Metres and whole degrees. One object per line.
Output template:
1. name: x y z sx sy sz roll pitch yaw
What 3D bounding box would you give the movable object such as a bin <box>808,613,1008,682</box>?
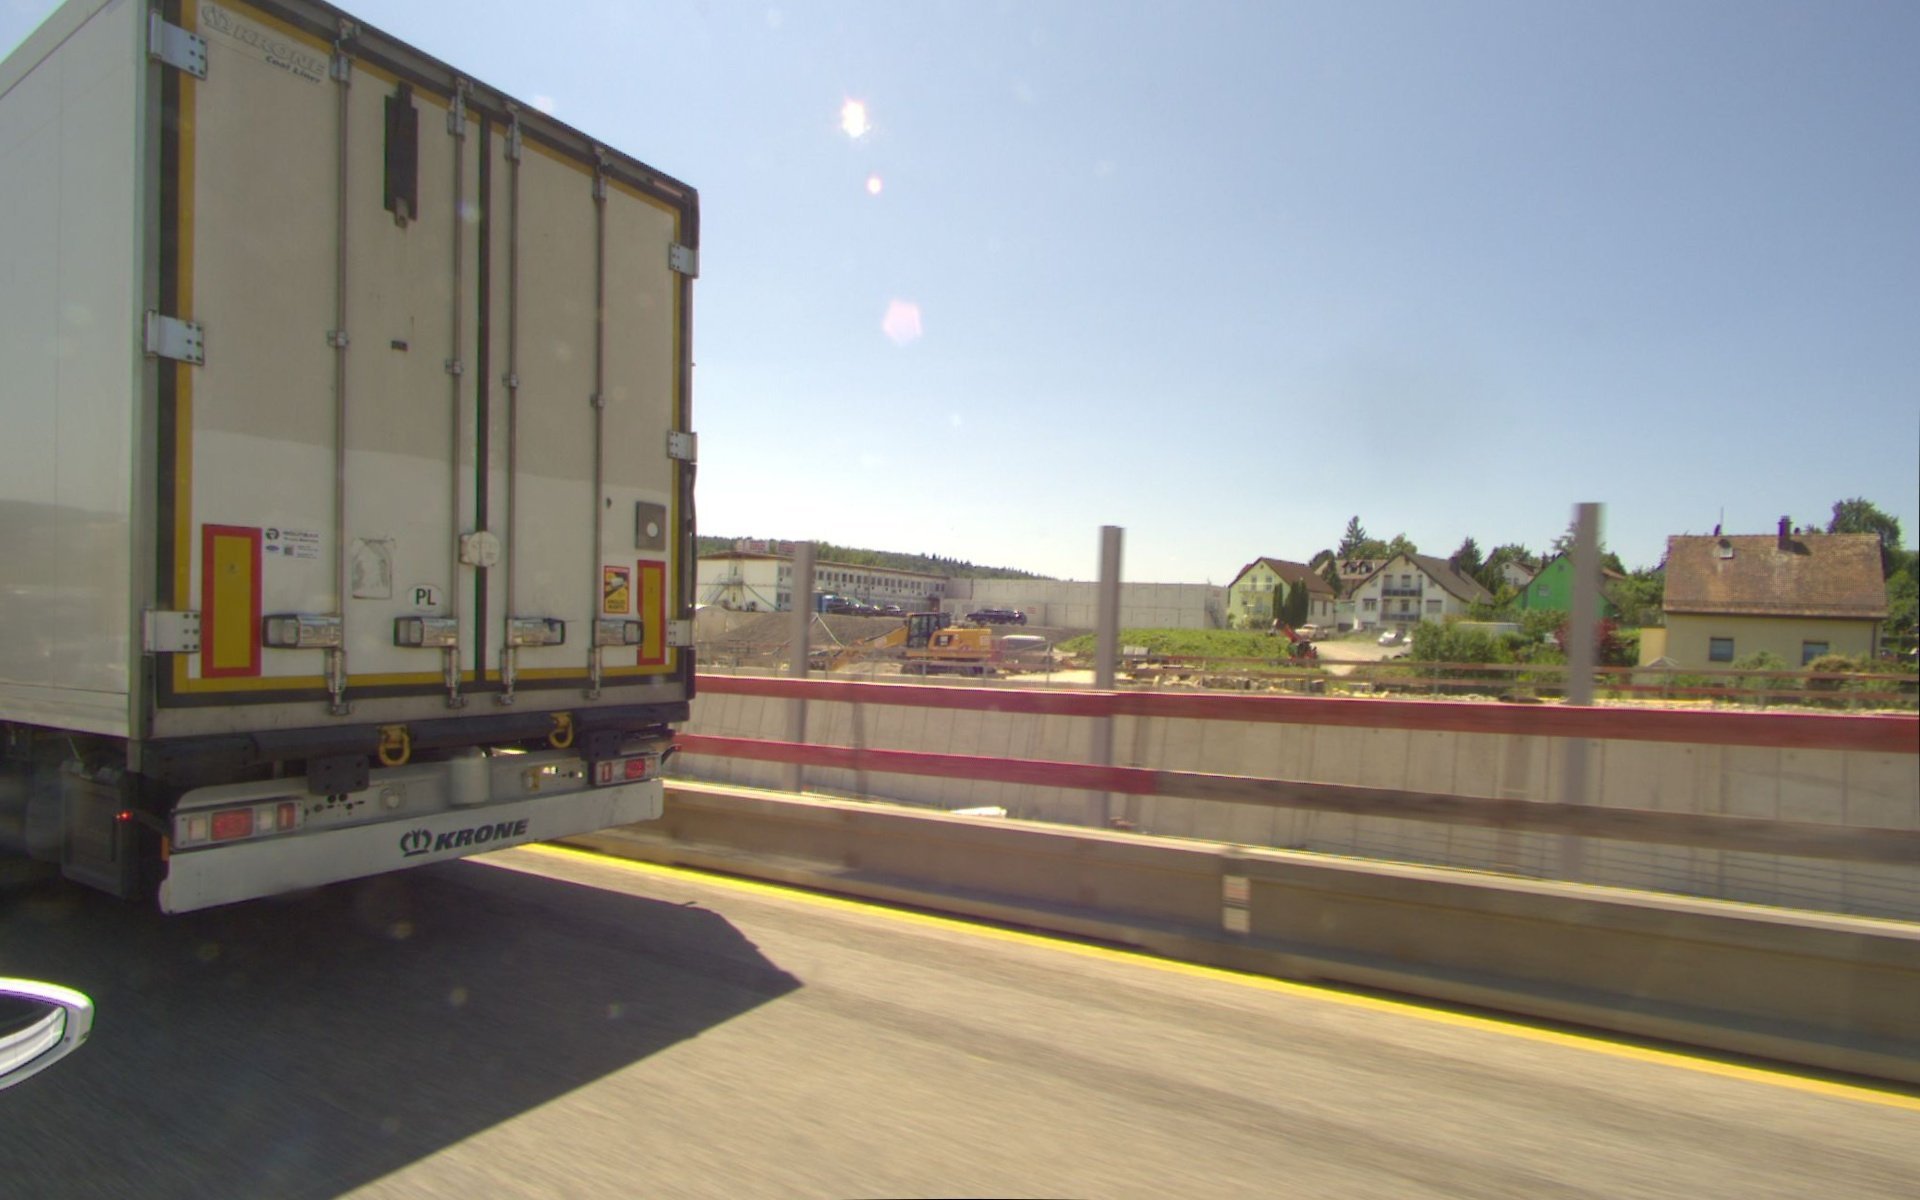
1. movable object such as a bin: -2.534 2.108 46.117 9.345 2.946 2.882 -1 -2 33

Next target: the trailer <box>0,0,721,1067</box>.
1. trailer: -7.969 -0.347 8.340 13.917 4.110 2.796 -1 -2 33

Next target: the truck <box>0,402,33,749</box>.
1. truck: -13.977 -0.286 12.217 4.835 4.110 2.772 -1 -1 33
